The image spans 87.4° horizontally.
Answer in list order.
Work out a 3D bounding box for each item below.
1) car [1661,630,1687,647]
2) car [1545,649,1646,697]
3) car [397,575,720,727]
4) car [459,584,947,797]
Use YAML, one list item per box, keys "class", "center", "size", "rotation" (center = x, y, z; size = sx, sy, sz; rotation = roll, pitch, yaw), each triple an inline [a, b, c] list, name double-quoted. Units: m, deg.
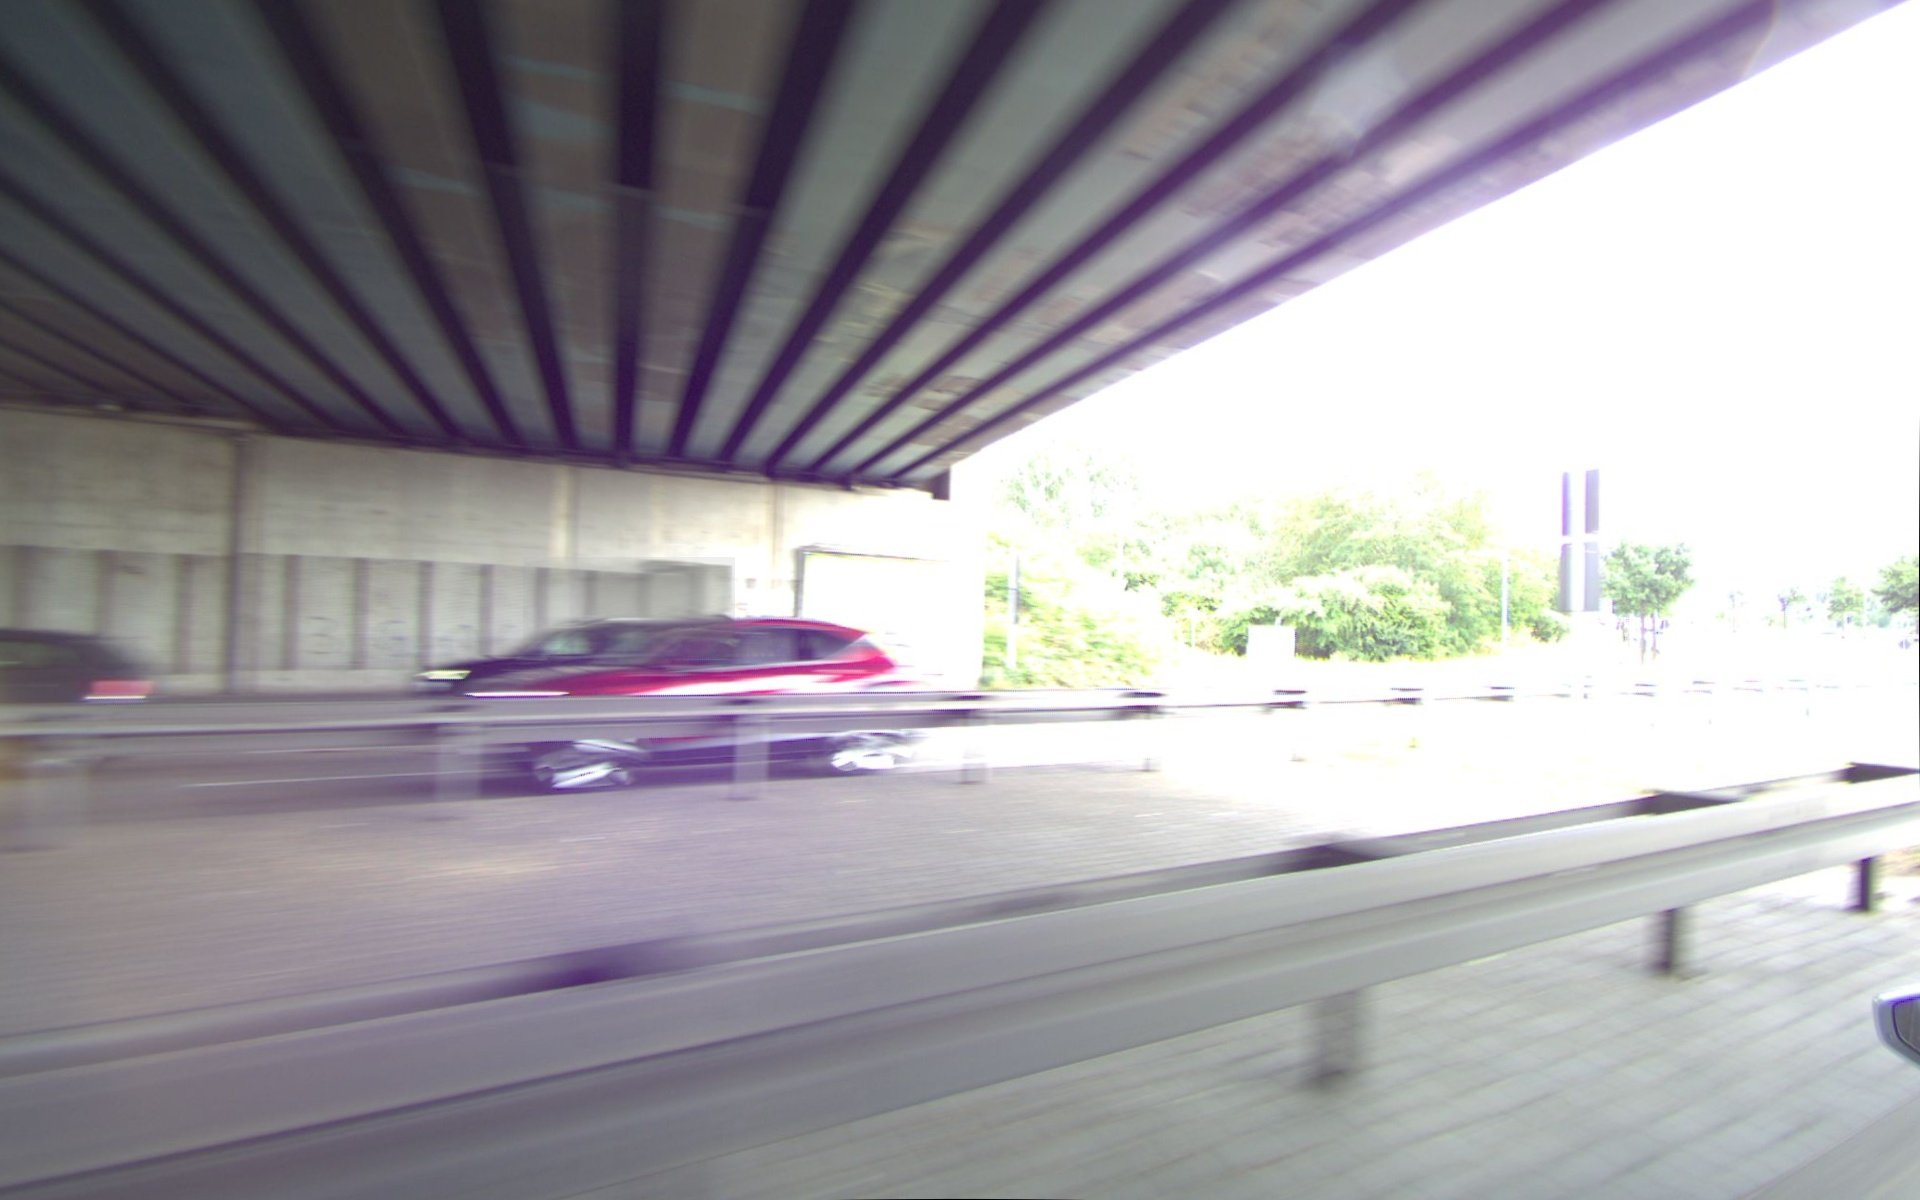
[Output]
- class: "car"
  center: [68.211, 3.676, 95.917]
  size: [1.968, 1.552, 4.316]
  rotation: [-2, -4, 36]
- class: "car"
  center: [22.028, 2.488, 34.779]
  size: [3.965, 1.530, 1.739]
  rotation: [2, -2, -38]
- class: "car"
  center: [-6.067, 0.786, 15.361]
  size: [4.282, 2.040, 1.986]
  rotation: [3, -2, -28]
- class: "car"
  center: [-2.473, 0.827, 10.006]
  size: [4.278, 1.697, 1.982]
  rotation: [3, -2, -33]
